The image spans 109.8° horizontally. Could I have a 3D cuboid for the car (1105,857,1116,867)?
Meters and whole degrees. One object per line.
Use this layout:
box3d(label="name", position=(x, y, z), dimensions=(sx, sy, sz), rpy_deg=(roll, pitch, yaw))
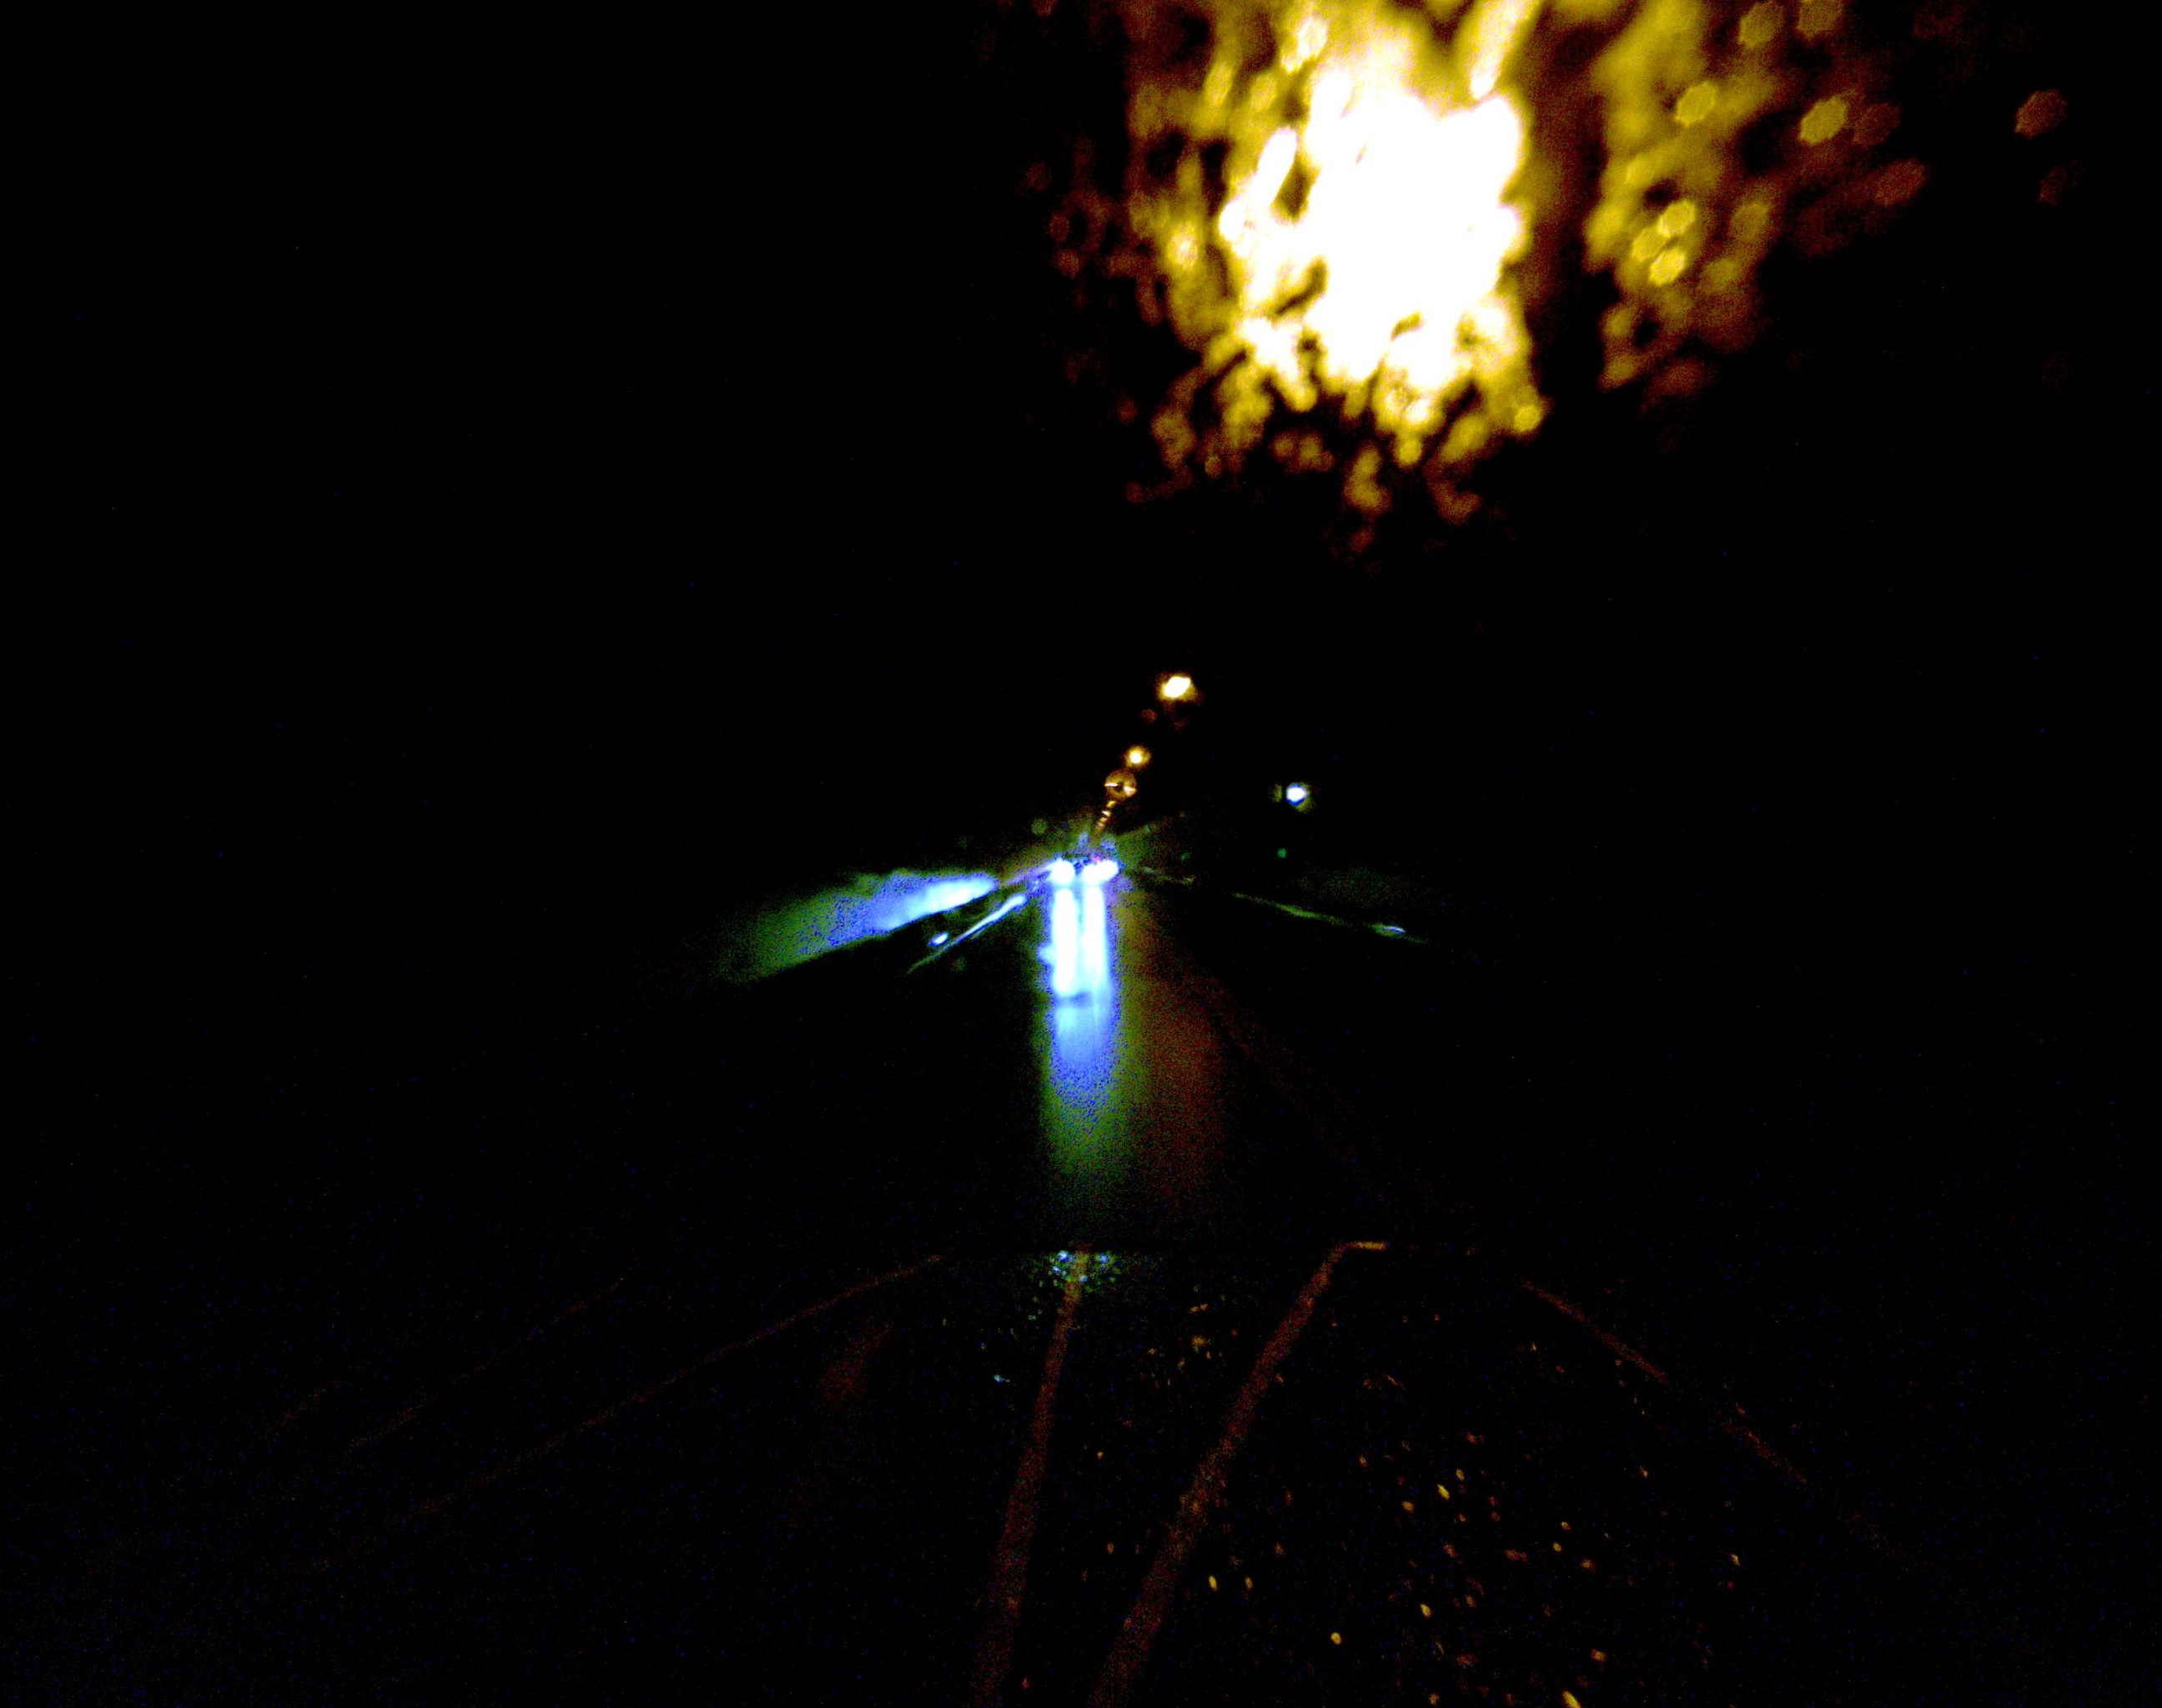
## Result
box3d(label="car", position=(4.509, 1.283, 117.580), dimensions=(1.639, 1.526, 3.646), rpy_deg=(-1, -1, 1))

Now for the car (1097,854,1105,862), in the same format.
box3d(label="car", position=(4.869, 0.955, 184.172), dimensions=(1.765, 1.888, 4.609), rpy_deg=(-1, -1, 1))

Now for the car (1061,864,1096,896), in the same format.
box3d(label="car", position=(-0.094, 1.251, 37.562), dimensions=(1.627, 1.487, 3.585), rpy_deg=(-1, -1, 1))
